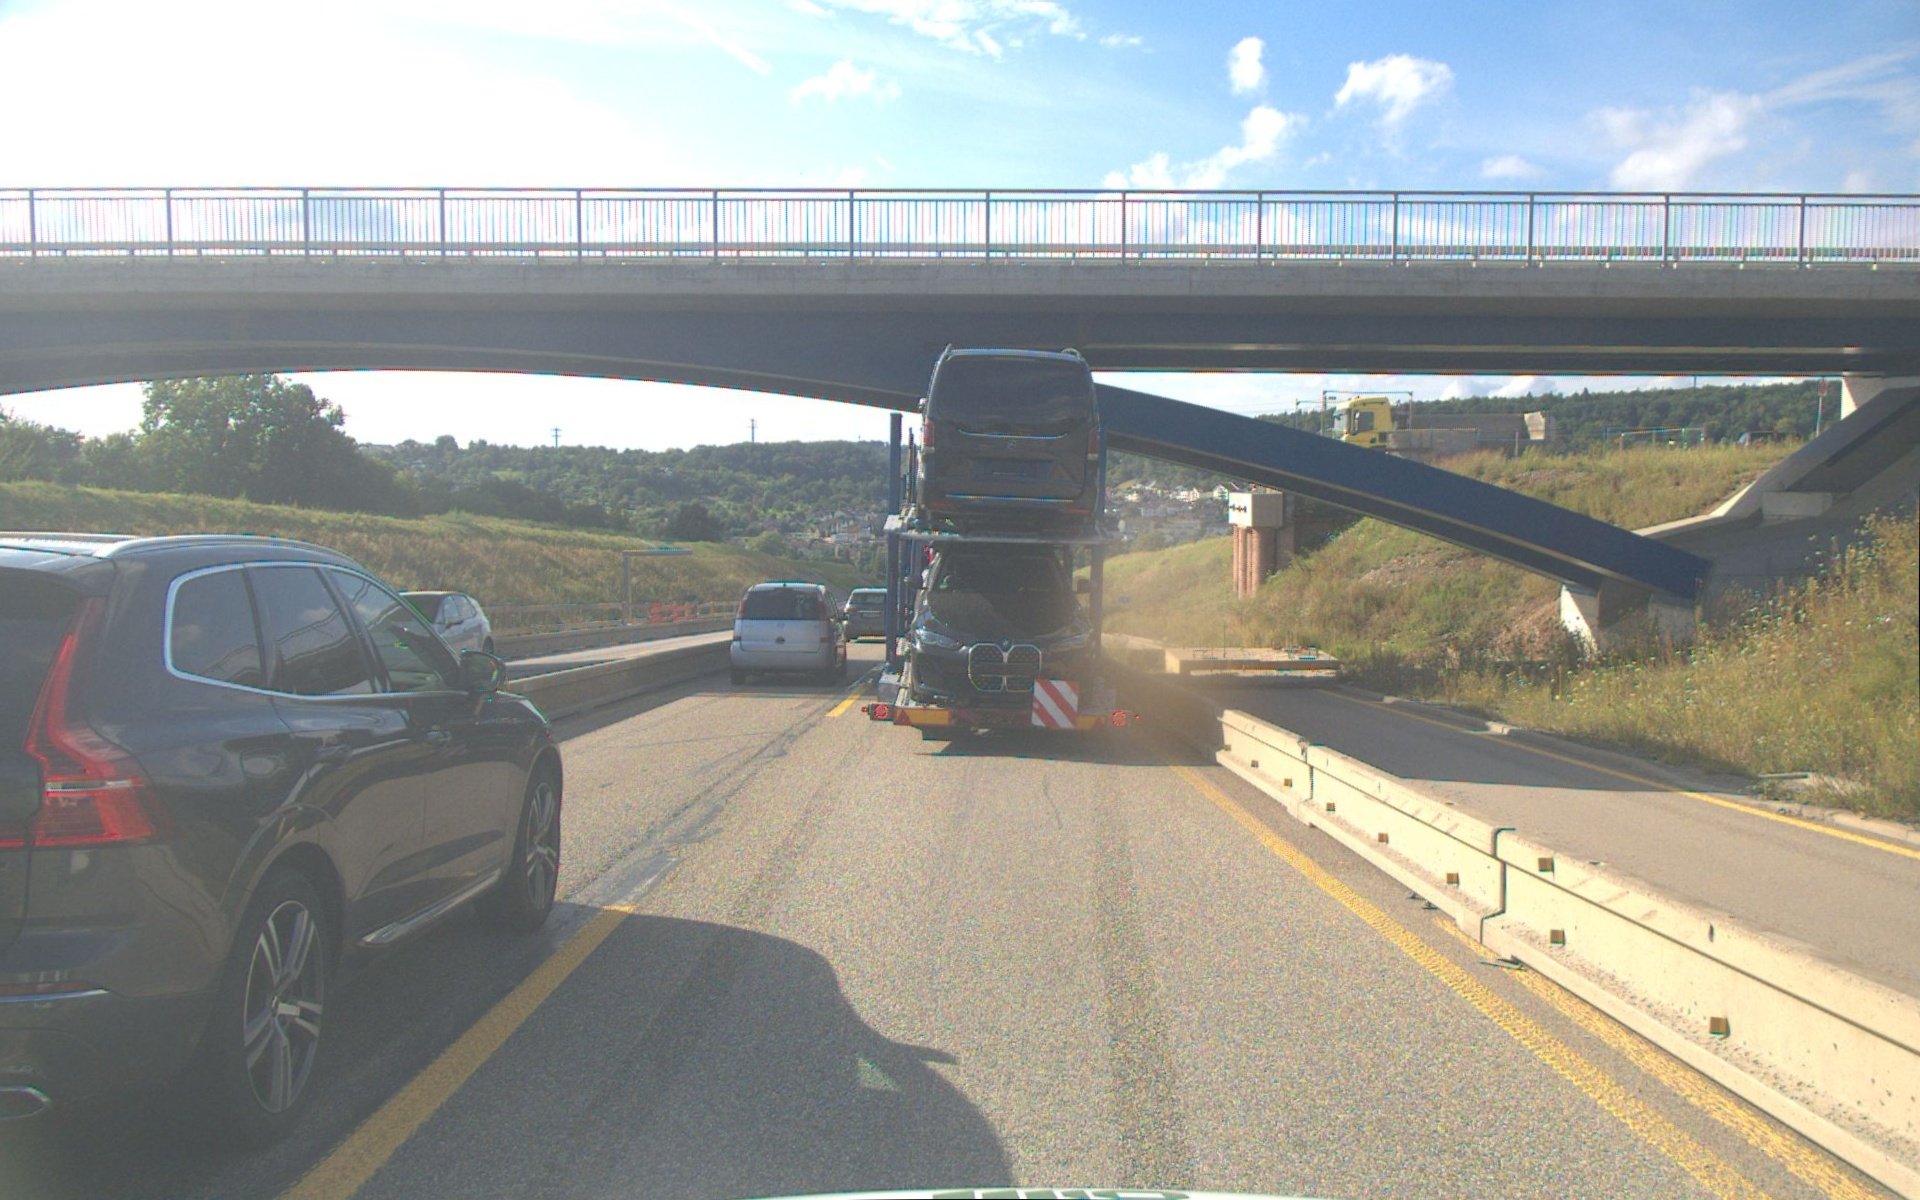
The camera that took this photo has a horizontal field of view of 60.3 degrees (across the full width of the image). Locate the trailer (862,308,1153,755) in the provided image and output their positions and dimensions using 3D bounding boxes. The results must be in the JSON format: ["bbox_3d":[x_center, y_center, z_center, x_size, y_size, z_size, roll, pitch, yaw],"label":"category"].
[{"bbox_3d":[0.410,-0.650,20.927,2.653,4.099,11.418,0,0,0],"label":"trailer"}]

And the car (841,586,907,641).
[{"bbox_3d":[-2.519,0.363,49.302,1.759,1.557,4.295,0,0,0],"label":"car"}]

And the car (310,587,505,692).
[{"bbox_3d":[-9.058,0.595,27.507,1.786,1.518,4.218,-2,1,0],"label":"car"}]

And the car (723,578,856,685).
[{"bbox_3d":[-2.754,0.466,27.716,1.759,1.624,4.742,0,0,0],"label":"car"}]

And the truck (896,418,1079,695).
[{"bbox_3d":[0.415,-0.638,26.913,2.623,3.990,6.027,0,0,0],"label":"truck"}]

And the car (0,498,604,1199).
[{"bbox_3d":[-2.691,0.595,5.727,1.953,1.653,4.749,0,0,-1],"label":"car"}]

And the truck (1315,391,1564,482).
[{"bbox_3d":[18.978,-6.459,65.835,9.073,3.284,2.960,0,0,0],"label":"truck"}]
